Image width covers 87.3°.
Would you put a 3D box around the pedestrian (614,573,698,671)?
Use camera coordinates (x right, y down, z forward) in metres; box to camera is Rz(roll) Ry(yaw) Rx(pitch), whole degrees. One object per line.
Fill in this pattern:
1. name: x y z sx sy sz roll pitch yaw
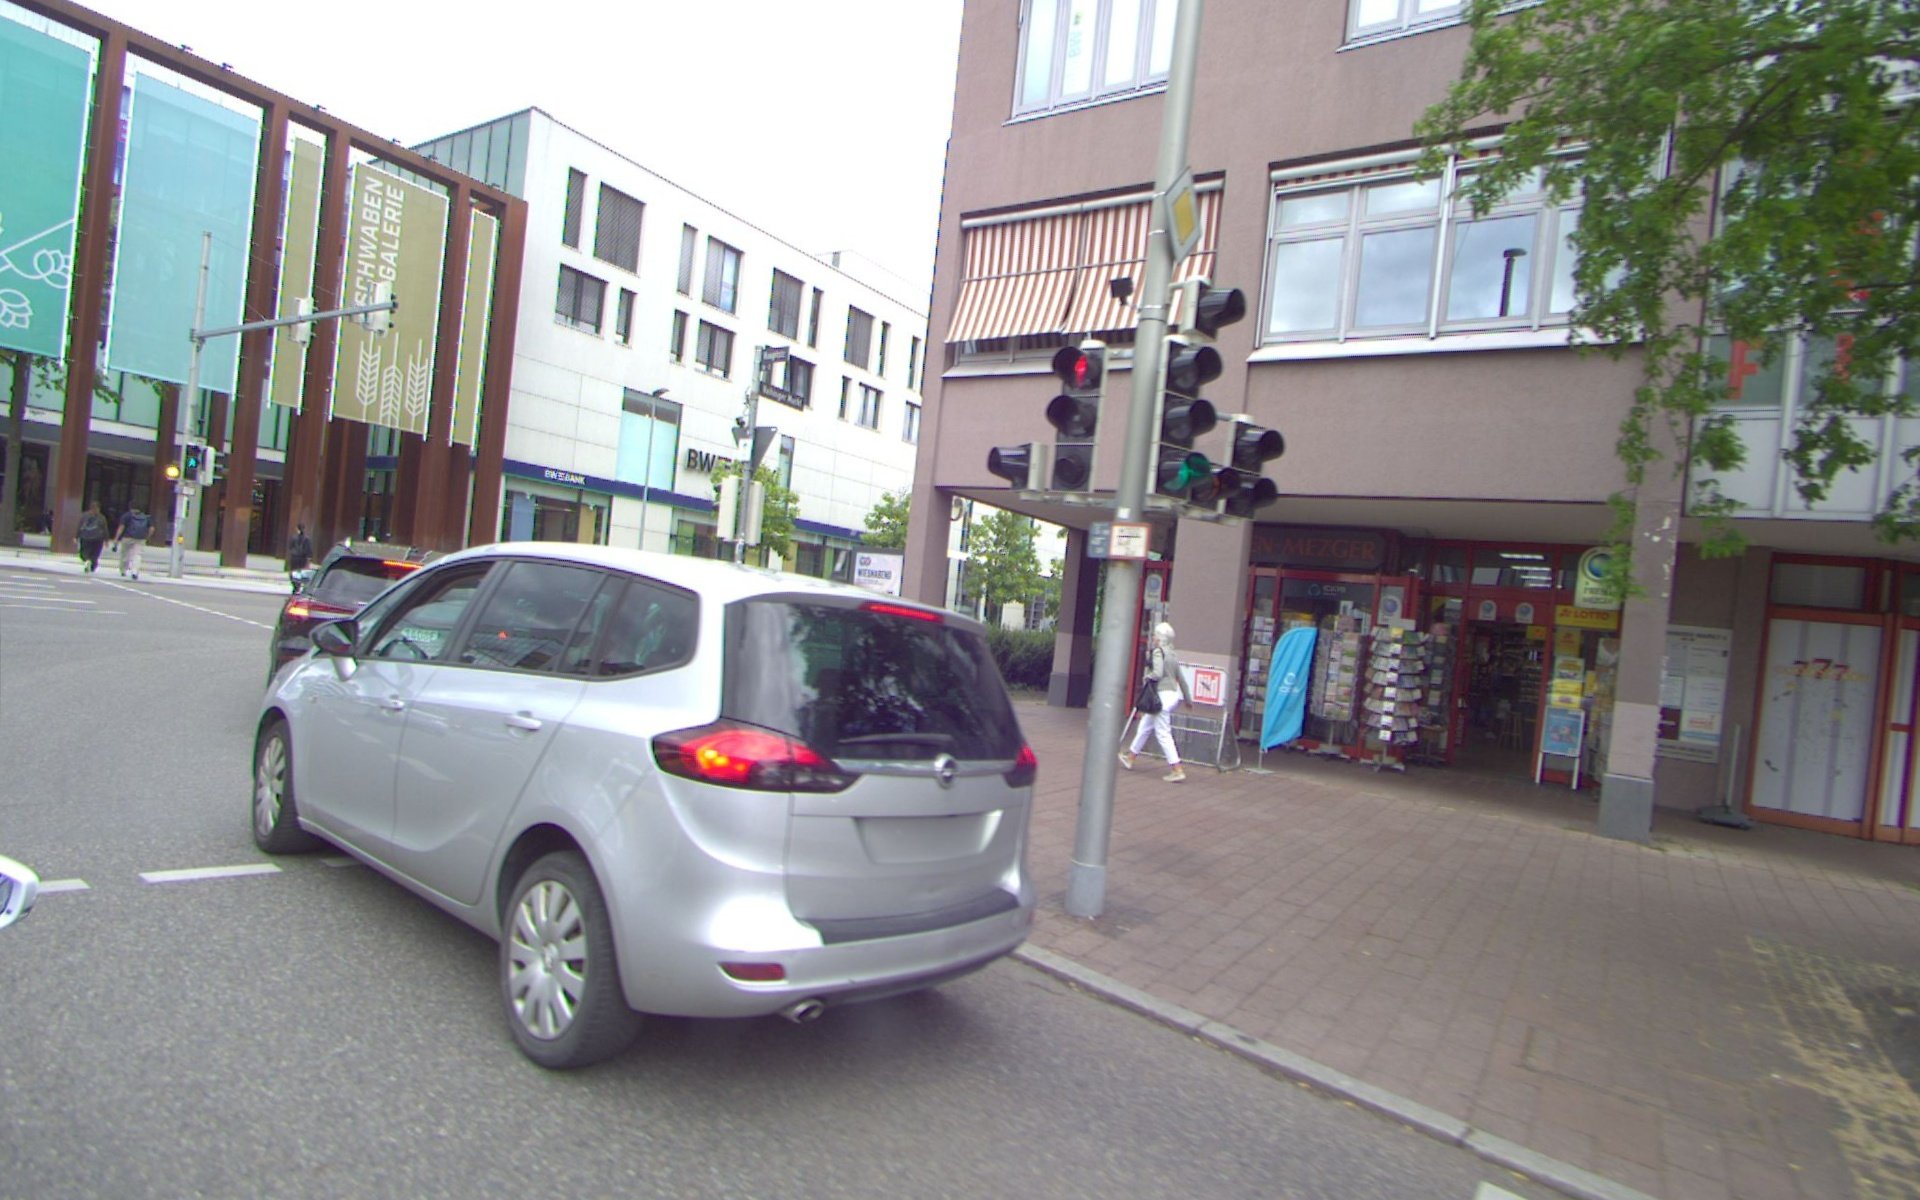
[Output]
1. pedestrian: -5.473 0.403 18.137 1.022 1.614 0.822 7 0 31

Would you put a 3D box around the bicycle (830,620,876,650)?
1. bicycle: -4.853 1.565 45.625 1.961 1.115 0.719 6 0 35

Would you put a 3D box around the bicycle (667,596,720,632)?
1. bicycle: -10.042 0.517 37.857 1.961 1.115 0.719 6 0 35

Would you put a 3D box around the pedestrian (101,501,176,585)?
1. pedestrian: -18.404 -1.269 22.549 1.102 1.702 0.879 7 0 32

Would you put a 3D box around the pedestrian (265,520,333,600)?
1. pedestrian: -16.044 -0.966 24.424 1.102 1.789 0.879 7 0 32

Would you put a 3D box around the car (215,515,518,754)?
1. car: -5.661 0.230 9.872 1.837 1.627 4.826 9 -2 -29

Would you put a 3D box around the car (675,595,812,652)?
1. car: -7.232 0.823 34.078 1.771 1.420 4.542 7 -2 32

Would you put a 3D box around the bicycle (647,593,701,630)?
1. bicycle: -10.535 0.413 37.001 1.961 1.115 0.719 6 0 35

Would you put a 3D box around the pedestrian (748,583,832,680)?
1. pedestrian: -3.061 0.583 18.175 1.041 1.603 0.831 7 0 30

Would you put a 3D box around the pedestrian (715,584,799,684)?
1. pedestrian: -3.499 0.593 17.360 0.953 1.577 0.831 7 0 30

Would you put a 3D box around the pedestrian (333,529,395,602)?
1. pedestrian: -16.030 -0.933 27.068 1.102 1.789 0.879 7 0 32

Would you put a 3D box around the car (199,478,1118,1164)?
1. car: -1.688 0.494 4.597 4.317 1.720 1.740 6 -2 39

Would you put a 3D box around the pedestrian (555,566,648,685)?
1. pedestrian: -5.356 0.383 15.050 0.938 1.647 0.742 7 1 32

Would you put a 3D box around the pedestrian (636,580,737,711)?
1. pedestrian: -3.751 0.617 13.808 0.938 1.647 0.742 7 1 32

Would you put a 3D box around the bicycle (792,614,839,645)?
1. bicycle: -6.301 1.286 43.718 1.961 1.115 0.719 6 0 35

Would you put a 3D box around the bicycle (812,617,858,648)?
1. bicycle: -5.547 1.425 44.579 1.961 1.115 0.719 6 0 35

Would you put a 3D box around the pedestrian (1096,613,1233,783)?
1. pedestrian: 2.236 1.040 10.982 1.075 1.647 0.809 7 1 33

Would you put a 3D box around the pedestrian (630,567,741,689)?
1. pedestrian: -4.289 0.446 15.755 1.092 1.736 1.056 7 0 34

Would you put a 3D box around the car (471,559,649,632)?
1. car: -10.819 -0.082 27.482 1.771 1.420 4.179 7 -2 32

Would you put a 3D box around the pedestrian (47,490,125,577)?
1. pedestrian: -18.879 -1.433 21.739 1.102 1.702 0.879 7 0 32
